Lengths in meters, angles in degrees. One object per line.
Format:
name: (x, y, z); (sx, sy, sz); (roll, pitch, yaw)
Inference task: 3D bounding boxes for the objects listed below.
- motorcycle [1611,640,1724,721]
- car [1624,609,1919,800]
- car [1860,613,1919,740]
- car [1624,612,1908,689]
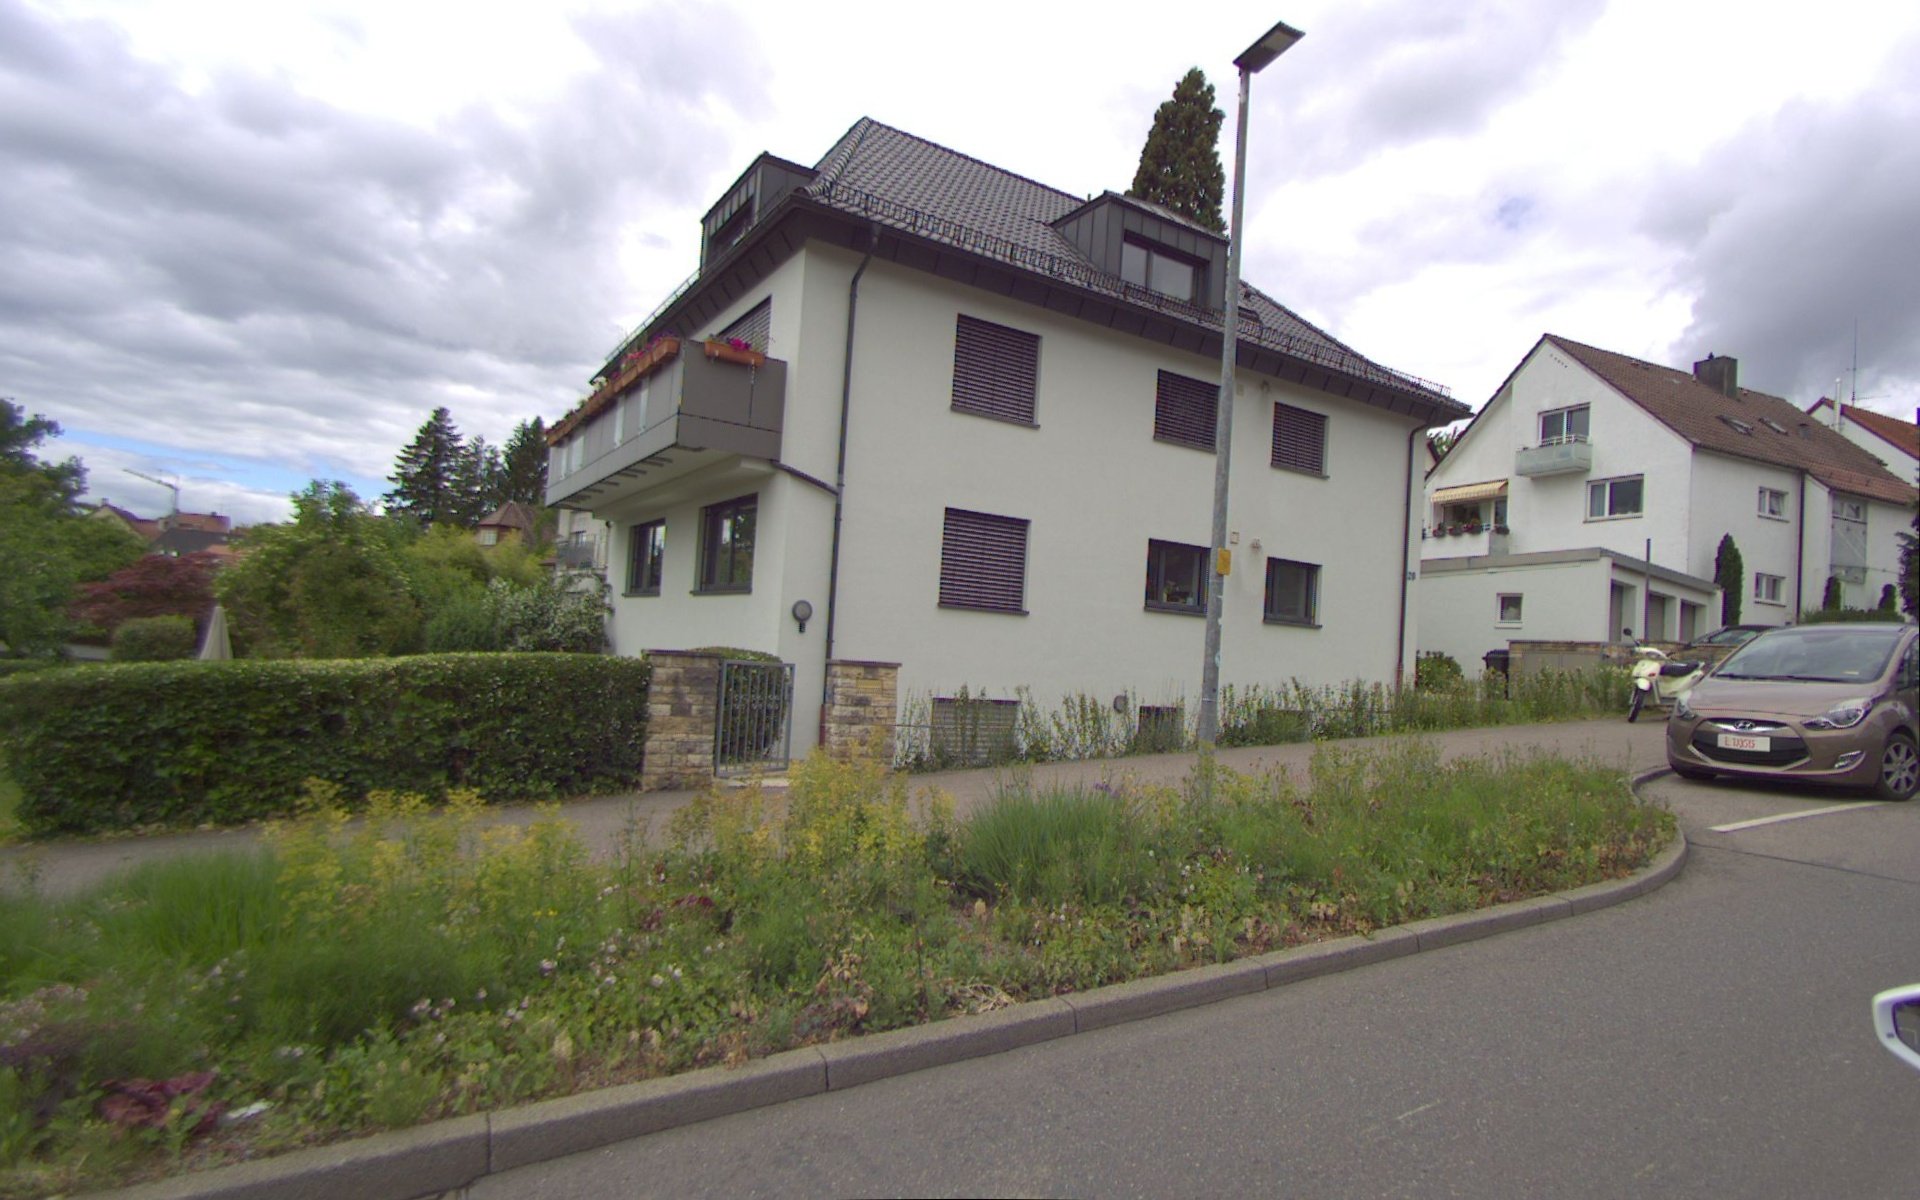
motorcycle: (10.703, 1.206, 15.189); (1.834, 1.176, 0.429); (2, -2, -20)
car: (8.819, 0.914, 10.203); (3.822, 1.606, 1.871); (1, -1, -27)
car: (13.536, 0.965, 12.889); (3.462, 1.557, 1.871); (1, -1, -27)
car: (16.576, 0.965, 20.879); (1.883, 1.386, 4.262); (0, 0, -32)
